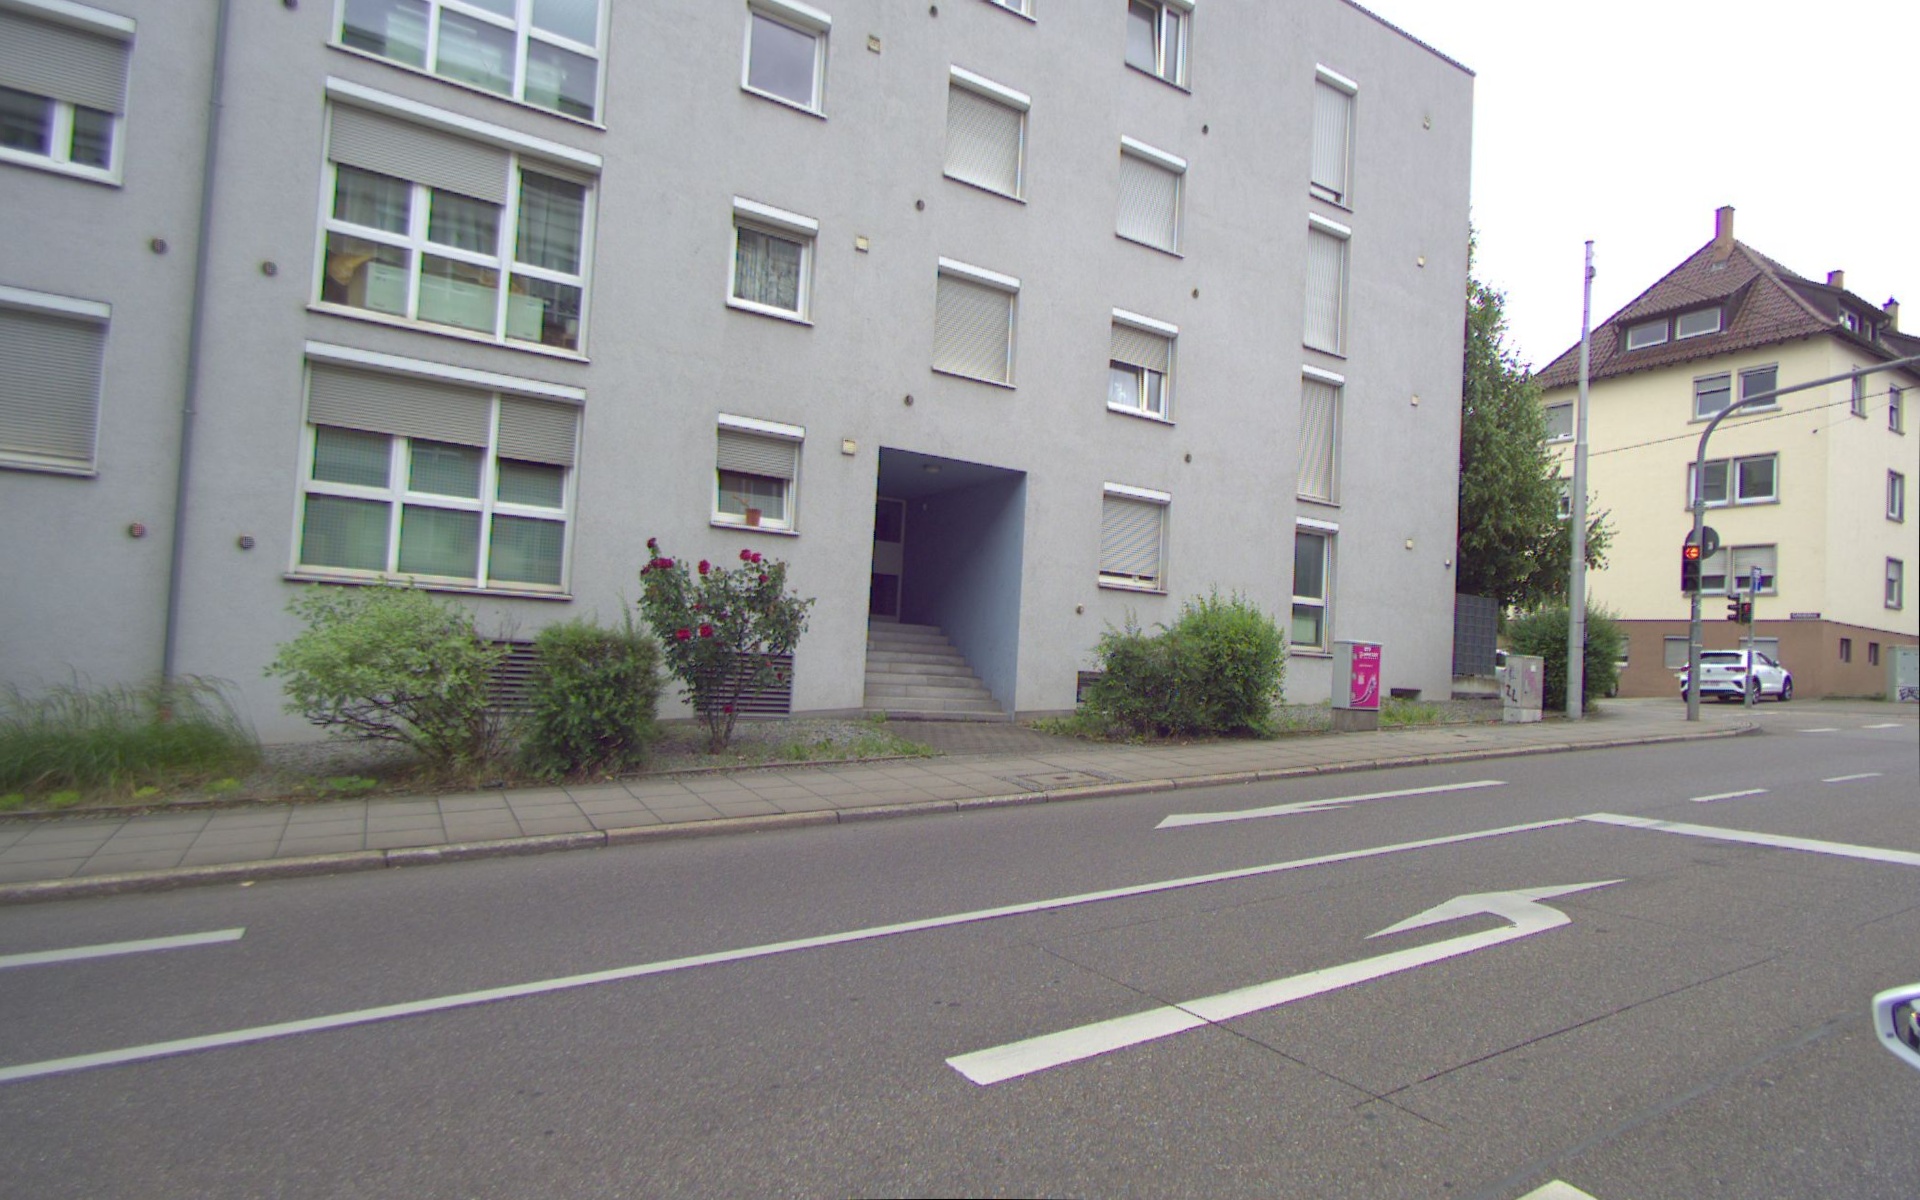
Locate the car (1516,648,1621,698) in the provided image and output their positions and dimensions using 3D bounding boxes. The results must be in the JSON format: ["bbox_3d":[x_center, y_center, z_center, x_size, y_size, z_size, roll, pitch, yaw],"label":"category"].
[{"bbox_3d":[20.931,2.478,34.534,3.727,1.629,1.681,1,-4,-34],"label":"car"}]

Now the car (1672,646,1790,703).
[{"bbox_3d":[23.046,2.193,30.000,3.727,1.575,1.681,1,-4,-34],"label":"car"}]

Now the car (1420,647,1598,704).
[{"bbox_3d":[15.047,2.020,27.747,1.678,1.411,4.033,2,-2,-32],"label":"car"}]
